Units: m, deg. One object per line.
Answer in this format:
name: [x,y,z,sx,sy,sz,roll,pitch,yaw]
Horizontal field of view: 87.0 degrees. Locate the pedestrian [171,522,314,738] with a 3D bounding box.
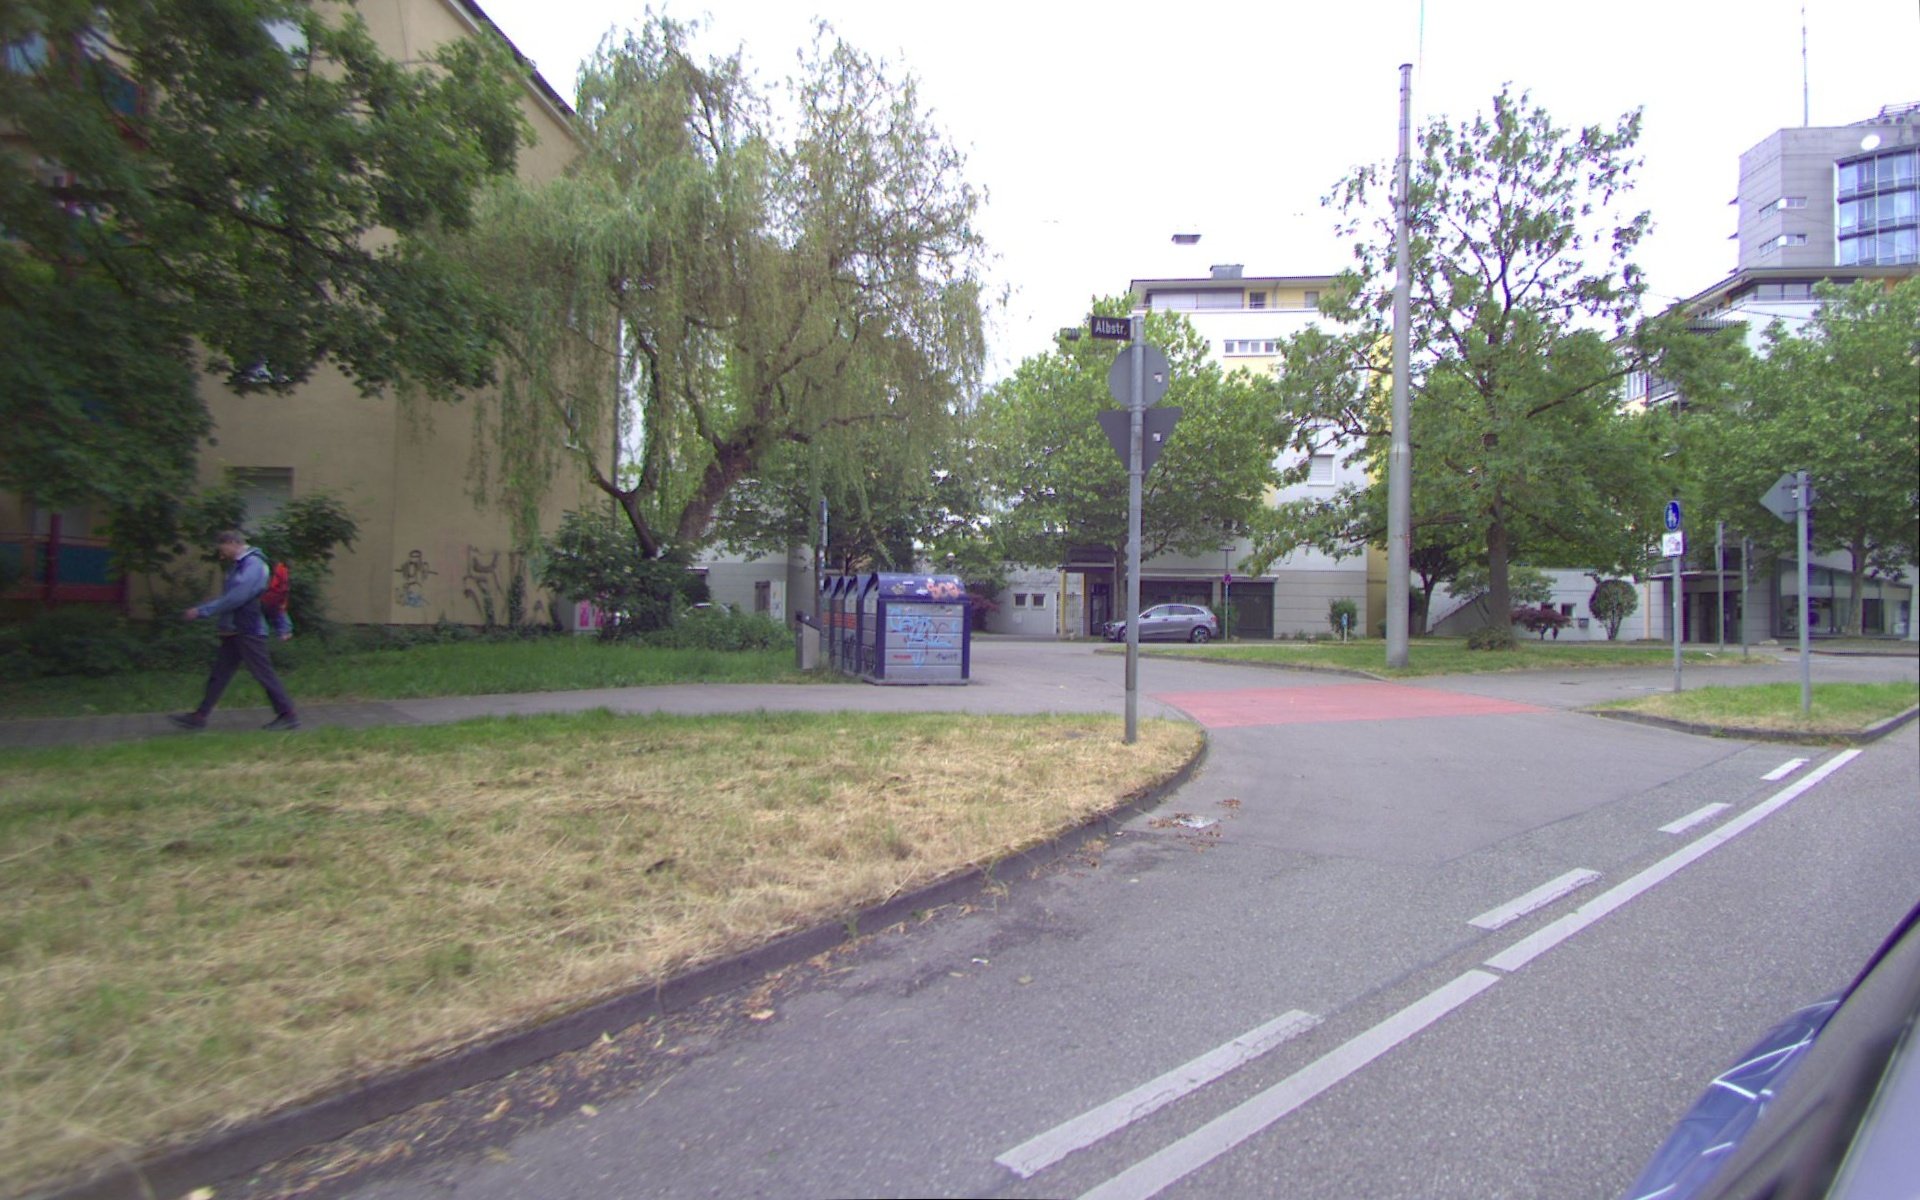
pedestrian: [-6.466,0.253,9.134,0.756,1.818,0.883,-1,-1,40]

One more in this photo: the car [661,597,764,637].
car: [-9.955,0.670,40.813,3.660,1.529,1.796,0,0,8]

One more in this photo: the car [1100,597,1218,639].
car: [7.465,0.665,38.208,4.167,1.529,1.798,0,0,4]
